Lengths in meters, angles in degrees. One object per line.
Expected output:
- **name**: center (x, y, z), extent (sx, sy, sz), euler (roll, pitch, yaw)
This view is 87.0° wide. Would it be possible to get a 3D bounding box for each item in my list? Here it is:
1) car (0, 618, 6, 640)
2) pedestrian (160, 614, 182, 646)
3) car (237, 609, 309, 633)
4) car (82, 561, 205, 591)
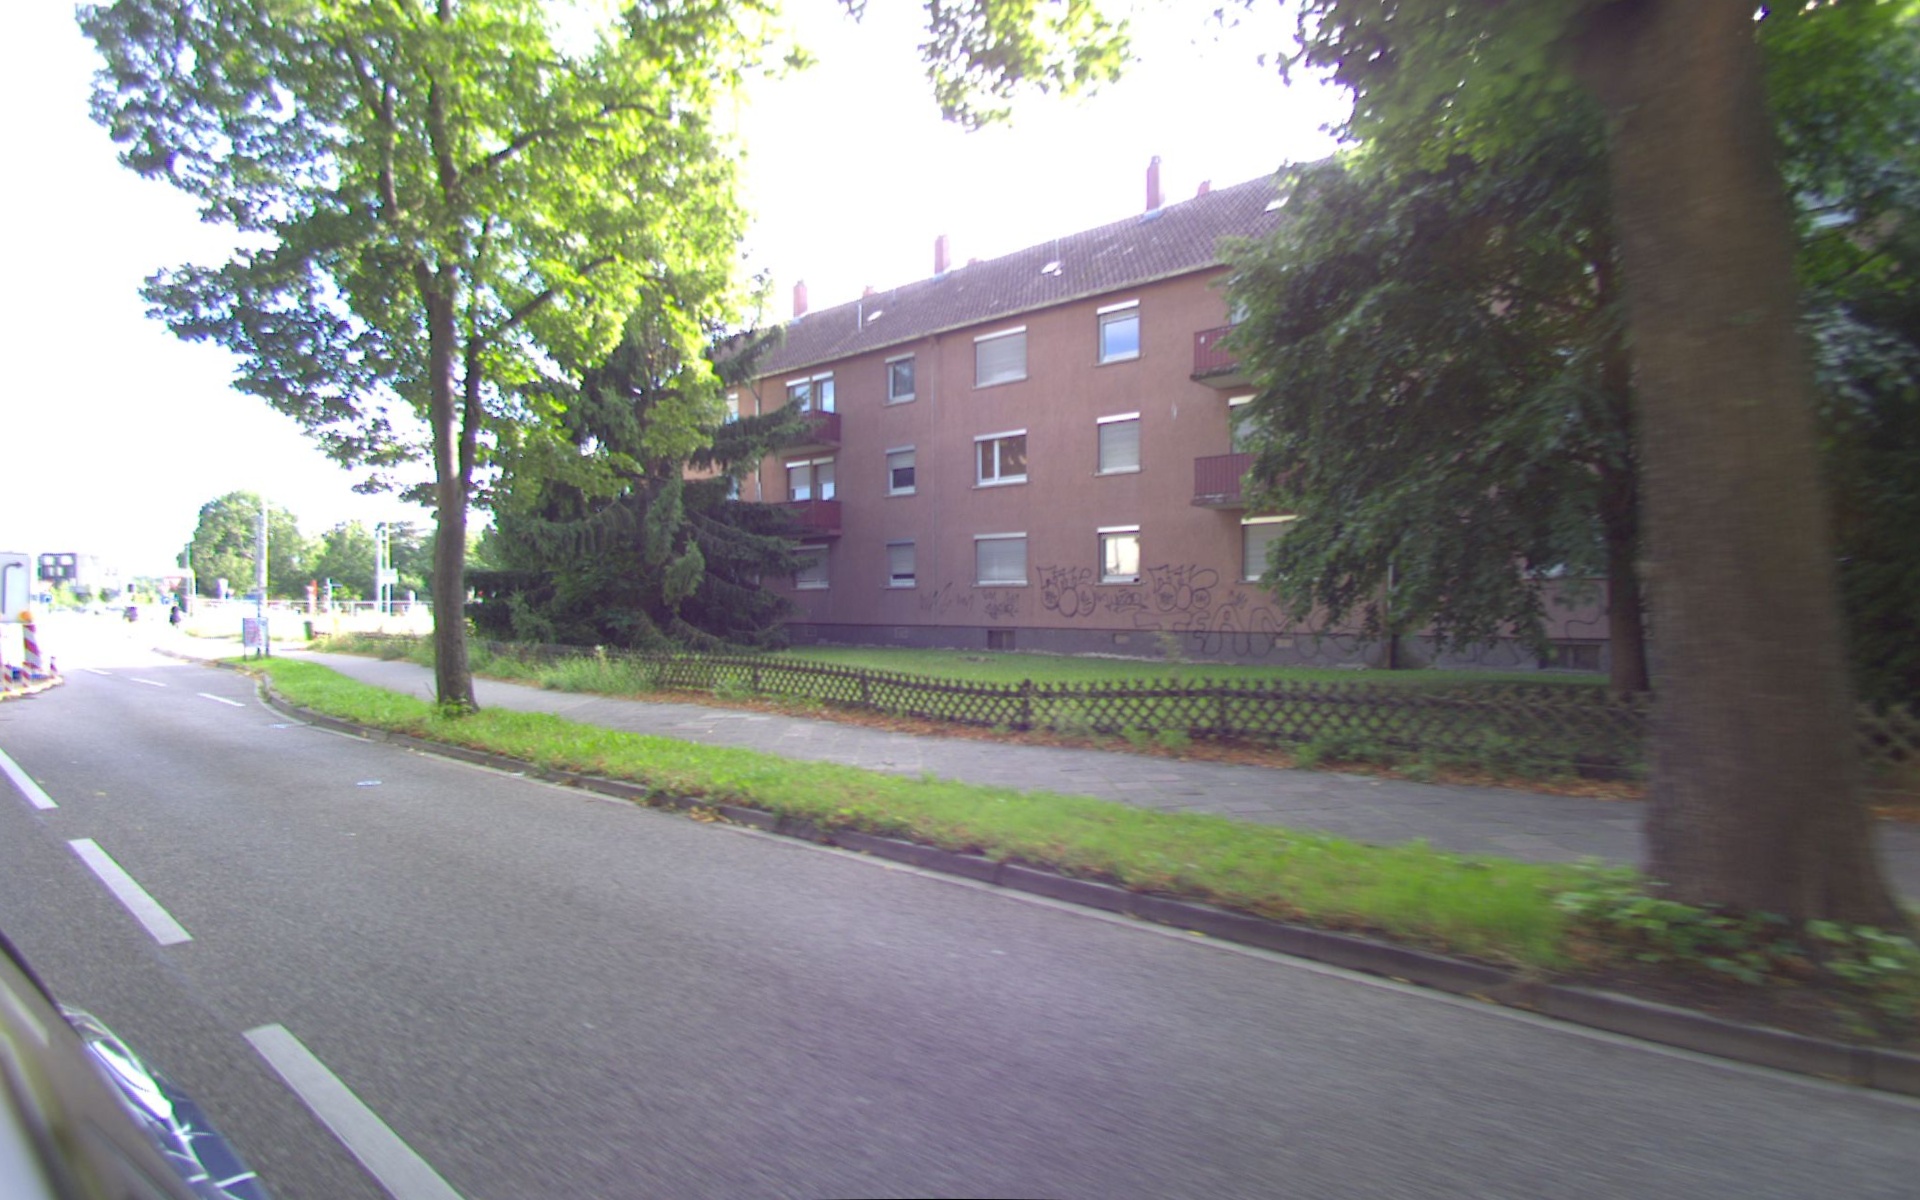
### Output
- **car**: center (-70.083, 2.110, 70.631), extent (2.302, 1.535, 4.810), euler (0, 1, 36)
- **pedestrian**: center (-46.021, 1.728, 59.007), extent (0.740, 1.838, 0.704), euler (-1, 0, 22)
- **car**: center (-63.614, 1.931, 93.879), extent (2.450, 2.074, 5.487), euler (0, 1, 9)
- **car**: center (-54.483, -1.582, 67.655), extent (6.162, 1.881, 2.479), euler (-1, 1, -1)
